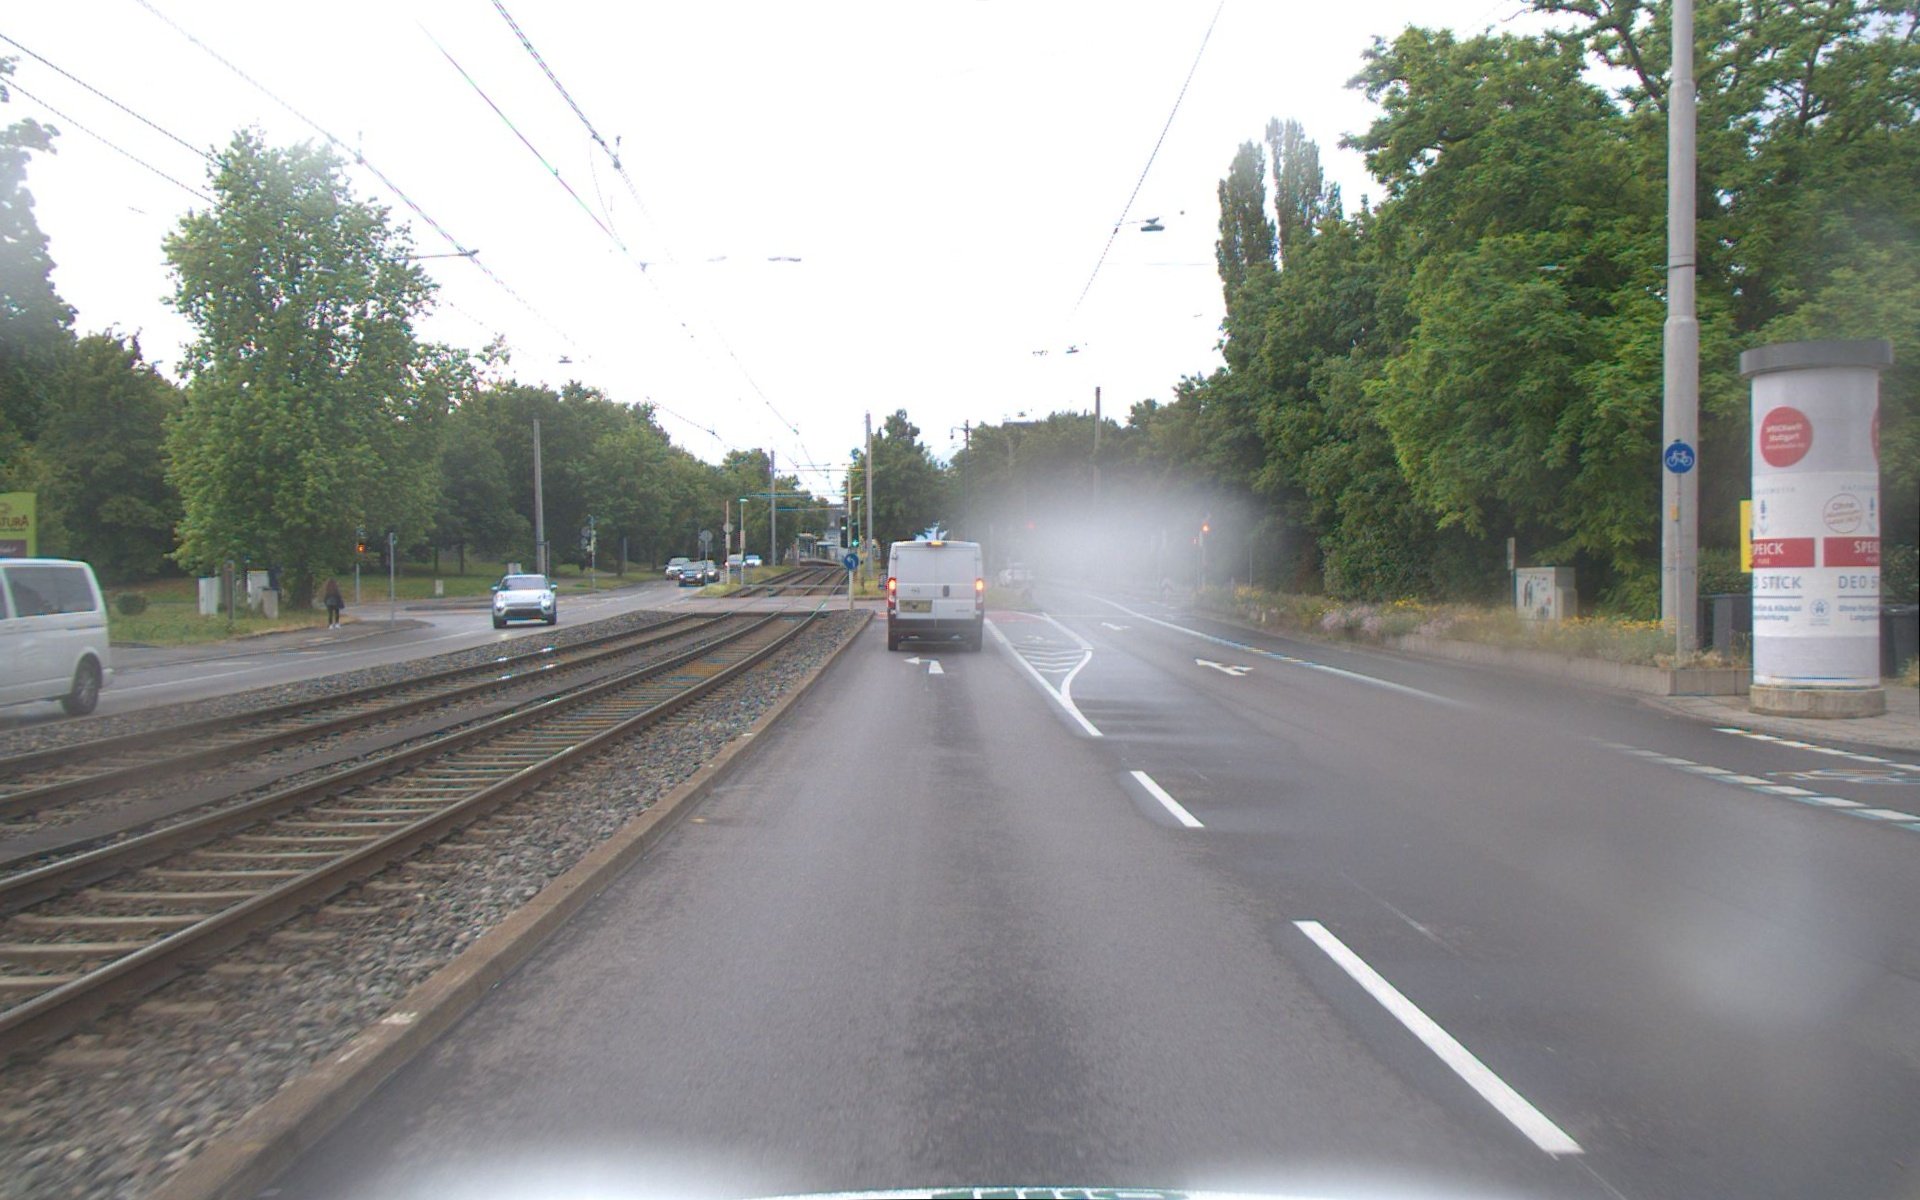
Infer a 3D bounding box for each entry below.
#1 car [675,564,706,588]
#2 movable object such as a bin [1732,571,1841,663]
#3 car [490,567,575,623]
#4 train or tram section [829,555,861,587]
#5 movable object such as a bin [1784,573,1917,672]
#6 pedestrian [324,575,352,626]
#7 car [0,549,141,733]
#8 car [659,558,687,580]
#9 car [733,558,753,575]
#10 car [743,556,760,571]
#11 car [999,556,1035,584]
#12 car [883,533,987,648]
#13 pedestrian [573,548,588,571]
[{"bbox_3d":[-17.186,-1.535,105.713,1.569,1.426,3.790,1,2,-4],"label":"car"},{"bbox_3d":[13.295,0.272,26.629,1.161,1.443,1.134,1,-1,-4],"label":"movable object such as a bin"},{"bbox_3d":[-13.949,-0.209,54.255,1.955,1.678,4.754,-3,1,-6],"label":"car"},{"bbox_3d":[-15.781,-3.970,228.079,3.979,3.962,15.031,1,-1,-2],"label":"train or tram section"},{"bbox_3d":[13.494,0.337,25.108,1.285,1.443,1.299,1,-1,-4],"label":"movable object such as a bin"},{"bbox_3d":[-19.353,0.023,51.466,0.579,1.559,0.668,1,-1,-3],"label":"pedestrian"},{"bbox_3d":[-11.735,0.489,19.320,1.954,2.048,5.057,-3,1,-3],"label":"car"},{"bbox_3d":[-22.152,-2.387,127.729,1.685,1.580,3.861,1,2,-4],"label":"car"},{"bbox_3d":[-19.759,-3.092,150.548,1.569,1.426,3.790,1,2,-4],"label":"car"},{"bbox_3d":[-21.848,-3.838,173.616,1.569,1.426,3.790,1,2,-4],"label":"car"},{"bbox_3d":[3.313,-1.754,96.558,1.670,1.548,3.788,1,2,-5],"label":"car"},{"bbox_3d":[-0.610,-0.221,36.172,2.103,2.323,5.061,0,1,-3],"label":"car"},{"bbox_3d":[-27.208,-2.938,118.633,0.994,1.628,1.038,-1,2,-9],"label":"pedestrian"}]
